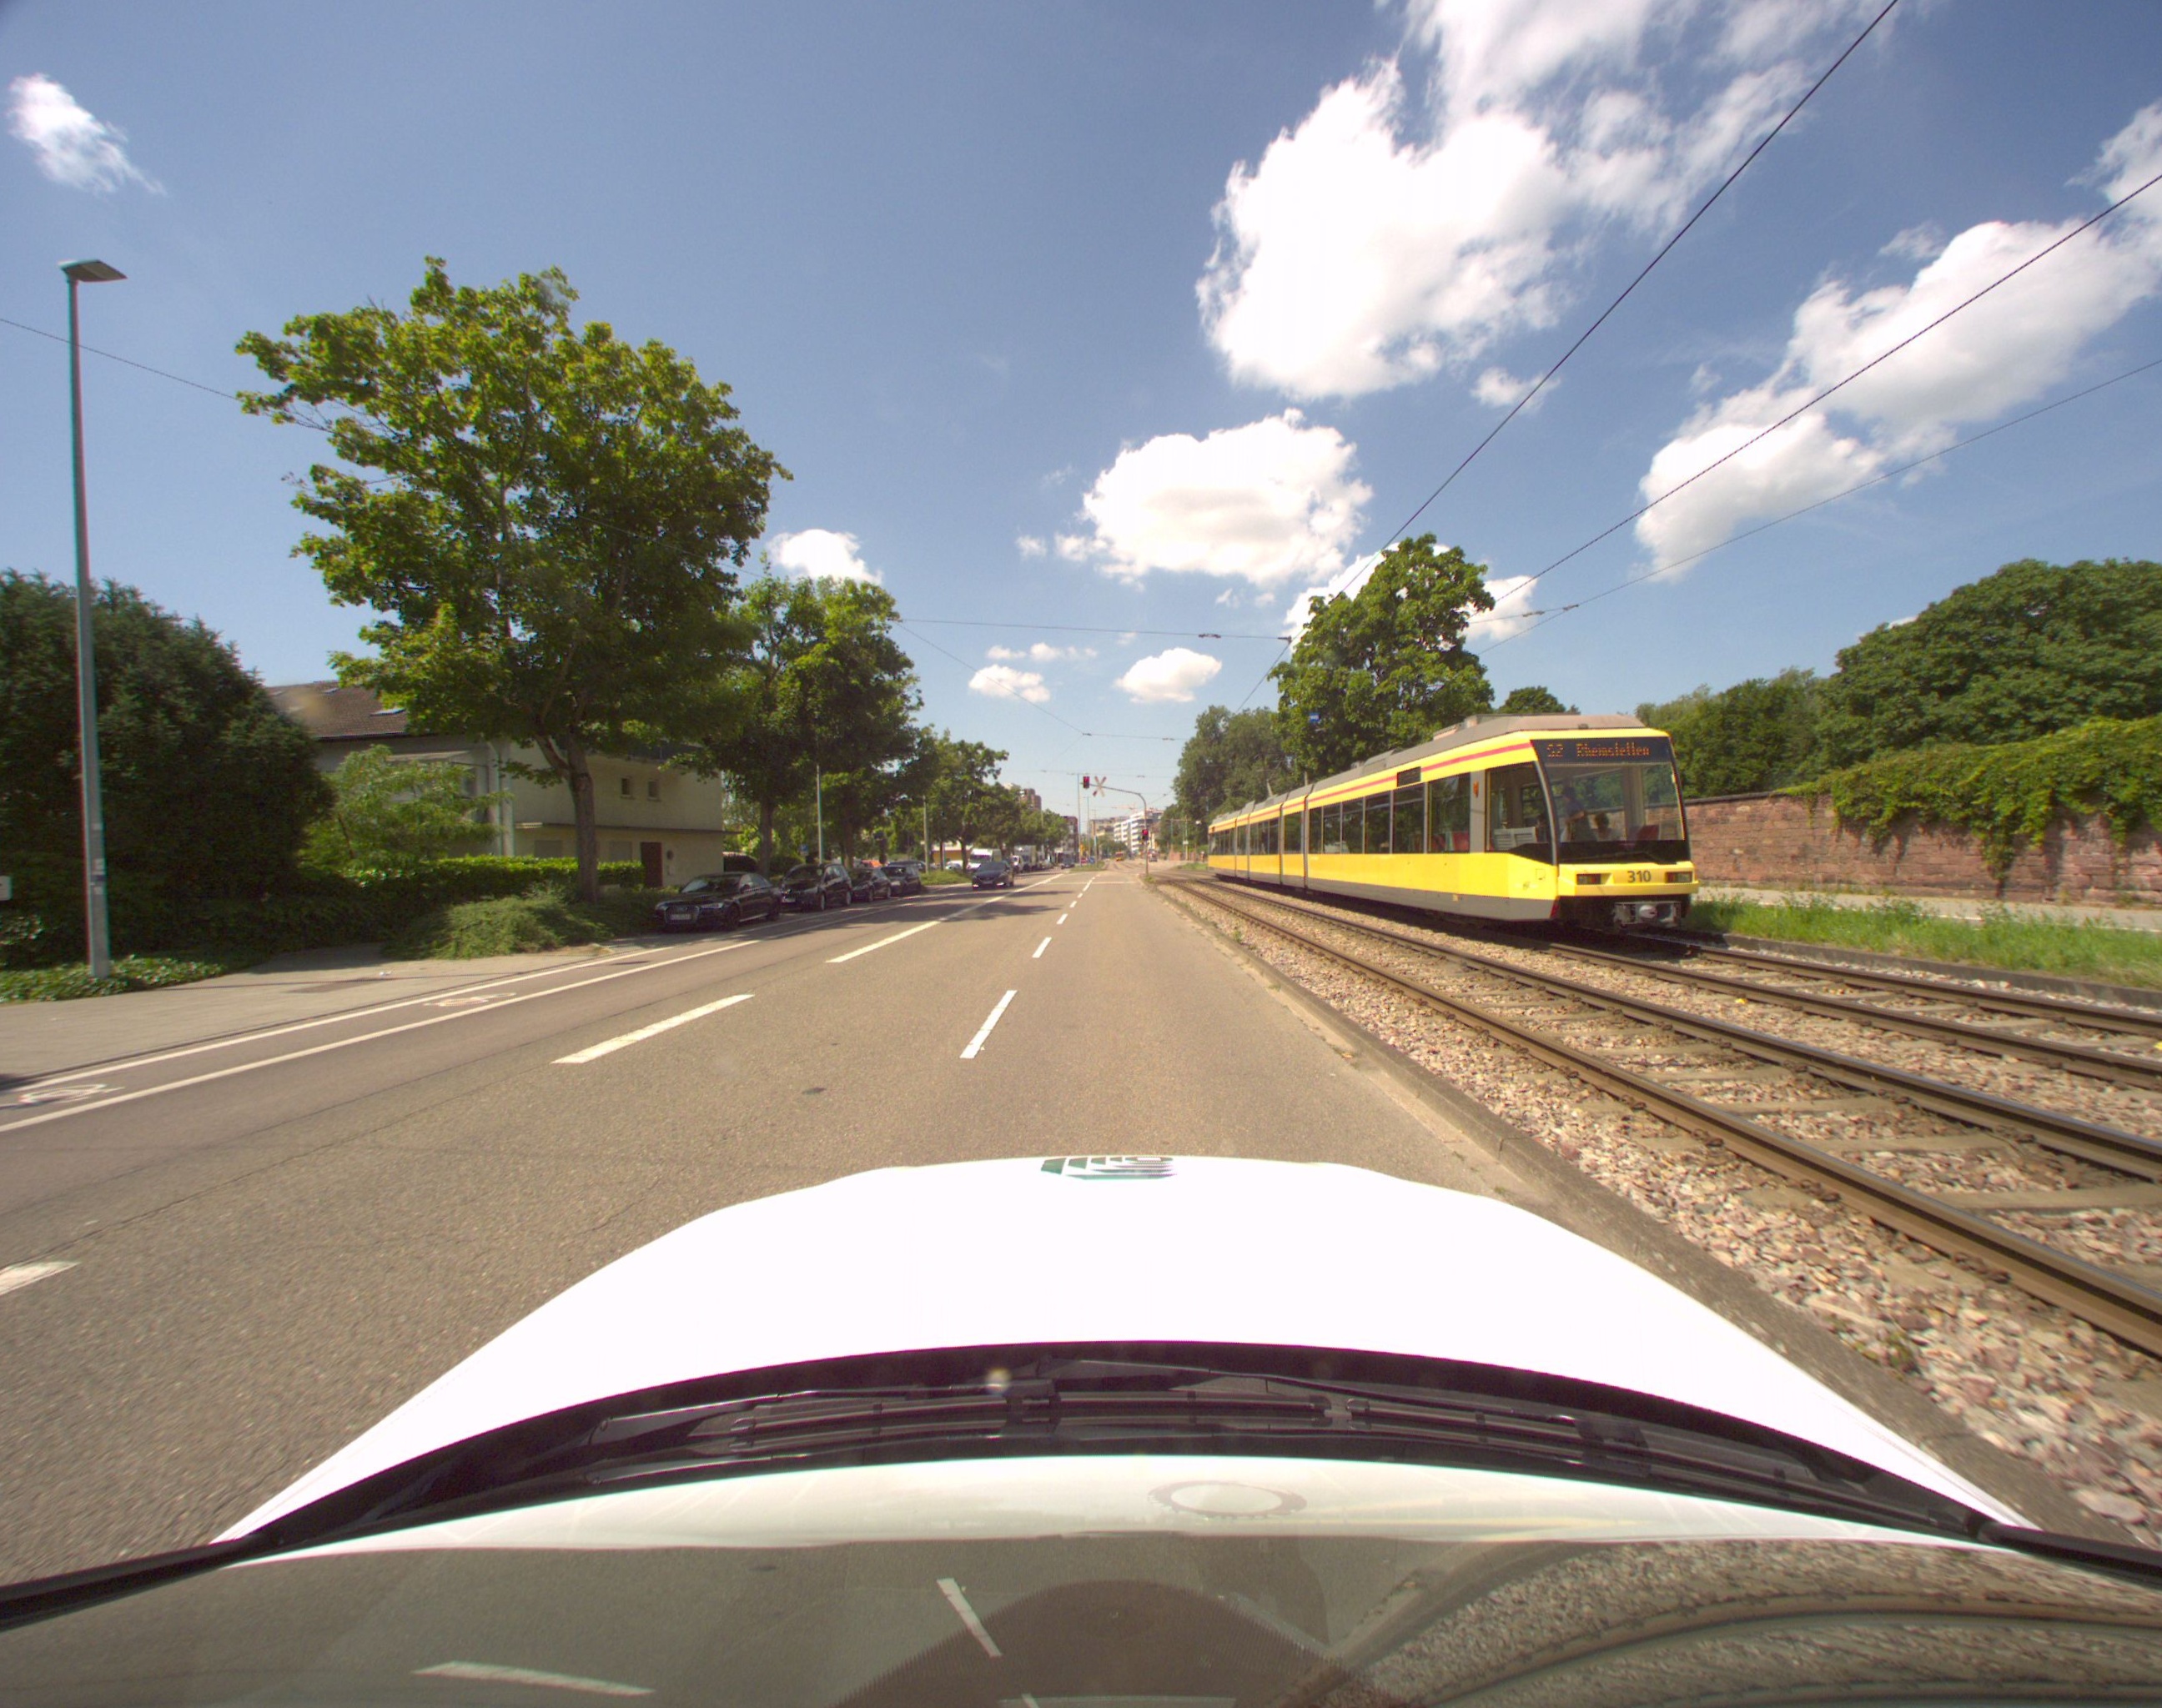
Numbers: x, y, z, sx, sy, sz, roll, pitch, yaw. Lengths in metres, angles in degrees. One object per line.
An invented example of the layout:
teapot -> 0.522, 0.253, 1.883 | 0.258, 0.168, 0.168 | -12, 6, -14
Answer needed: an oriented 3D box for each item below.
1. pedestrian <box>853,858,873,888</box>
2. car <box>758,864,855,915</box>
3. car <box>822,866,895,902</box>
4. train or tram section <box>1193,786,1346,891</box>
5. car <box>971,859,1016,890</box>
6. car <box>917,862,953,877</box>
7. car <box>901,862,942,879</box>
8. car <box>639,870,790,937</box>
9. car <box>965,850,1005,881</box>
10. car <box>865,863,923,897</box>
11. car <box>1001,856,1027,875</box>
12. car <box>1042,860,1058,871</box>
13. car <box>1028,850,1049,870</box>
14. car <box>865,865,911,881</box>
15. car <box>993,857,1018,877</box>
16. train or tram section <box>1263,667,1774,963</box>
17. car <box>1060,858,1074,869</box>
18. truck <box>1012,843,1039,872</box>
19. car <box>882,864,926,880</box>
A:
pedestrian -> -13.469, 1.179, 50.337 | 0.971, 1.823, 0.794 | -2, 0, -1
car -> -9.541, 1.182, 28.711 | 1.769, 1.604, 4.637 | -1, 0, 1
car -> -9.311, 1.228, 34.480 | 1.769, 1.373, 4.697 | 0, 0, 1
train or tram section -> 8.045, -0.550, 38.878 | 2.933, 3.692, 20.286 | -1, 0, 1
car -> -4.521, 1.023, 42.456 | 1.769, 1.460, 4.195 | -3, 0, 1
car -> -17.695, 1.912, 98.893 | 3.973, 1.606, 1.805 | -2, 0, 1
car -> -16.949, 1.768, 86.646 | 3.973, 1.606, 1.805 | -2, 0, 1
car -> -9.599, 1.221, 21.812 | 1.769, 1.455, 4.804 | -2, 0, 1
car -> -8.094, 0.927, 69.266 | 2.147, 2.487, 6.200 | -2, 0, 5
car -> -8.966, 1.219, 39.380 | 1.768, 1.481, 4.049 | 0, 0, 2
car -> -7.261, 1.211, 88.898 | 2.052, 1.898, 4.874 | -2, 0, 3
car -> -5.080, 1.891, 133.589 | 2.052, 1.582, 4.874 | -2, 0, 3
car -> -5.842, 0.861, 112.565 | 2.147, 2.639, 5.618 | -1, 0, 5
car -> -18.630, 1.820, 78.792 | 3.973, 1.339, 1.805 | -2, 0, 1
car -> -7.616, 1.267, 82.717 | 1.861, 1.895, 4.274 | -2, 0, 3
train or tram section -> 7.567, -0.498, 19.483 | 2.932, 3.692, 18.398 | -1, 0, 2
car -> -1.860, 1.311, 110.789 | 1.671, 1.398, 4.008 | -4, 0, 2
truck -> -6.599, 0.405, 97.351 | 2.147, 3.210, 7.091 | 1, 0, 5
car -> -18.055, 1.803, 83.208 | 3.972, 1.442, 1.806 | -2, 0, 1
